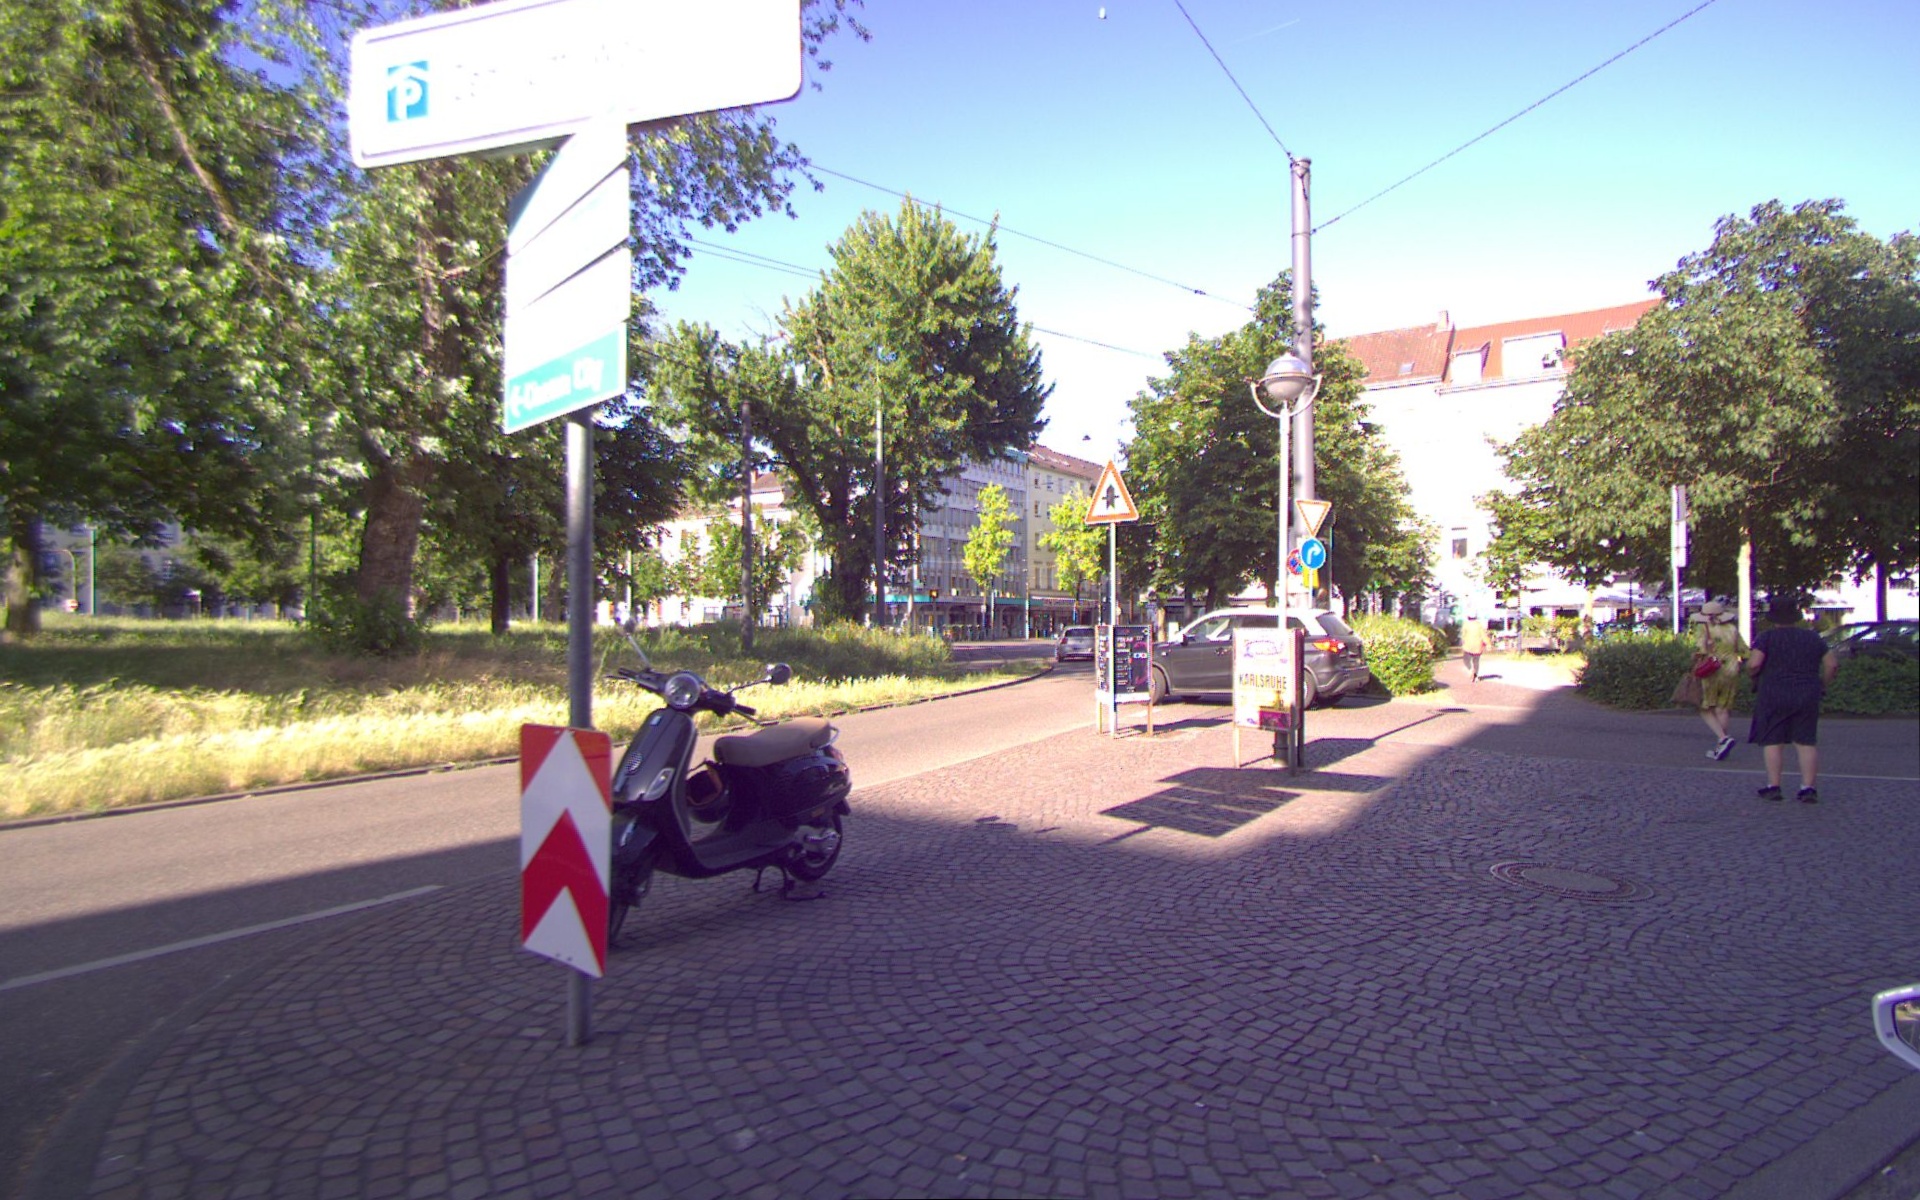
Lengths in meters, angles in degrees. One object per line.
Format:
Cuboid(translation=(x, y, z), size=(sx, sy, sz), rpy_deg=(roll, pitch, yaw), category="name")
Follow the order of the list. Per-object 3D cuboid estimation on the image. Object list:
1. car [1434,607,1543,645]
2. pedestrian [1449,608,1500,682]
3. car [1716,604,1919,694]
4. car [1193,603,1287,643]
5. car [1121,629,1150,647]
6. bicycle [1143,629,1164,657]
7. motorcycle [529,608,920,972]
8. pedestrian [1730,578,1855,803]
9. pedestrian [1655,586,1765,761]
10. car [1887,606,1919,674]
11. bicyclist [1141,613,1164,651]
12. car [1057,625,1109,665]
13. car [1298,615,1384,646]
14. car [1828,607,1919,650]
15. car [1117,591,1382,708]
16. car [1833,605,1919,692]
Cuboid(translation=(31.033, 1.506, 59.016), size=(5.498, 2.040, 1.813), rpy_deg=(1, 0, 33), category="car")
Cuboid(translation=(11.137, 0.951, 21.767), size=(0.755, 1.542, 0.959), rpy_deg=(1, 0, 14), category="pedestrian")
Cuboid(translation=(16.497, 0.877, 18.360), size=(3.924, 1.489, 1.873), rpy_deg=(1, 0, 25), category="car")
Cuboid(translation=(17.493, 1.420, 62.852), size=(5.267, 2.345, 1.993), rpy_deg=(1, 0, 37), category="car")
Cuboid(translation=(20.481, 4.414, 116.959), size=(1.965, 1.807, 3.990), rpy_deg=(1, 1, 32), category="car")
Cuboid(translation=(8.149, 1.804, 42.309), size=(0.796, 1.083, 2.585), rpy_deg=(1, 0, 11), category="bicycle")
Cuboid(translation=(-1.032, 0.756, 4.816), size=(0.736, 1.392, 1.755), rpy_deg=(1, 0, 35), category="motorcycle")
Cuboid(translation=(6.613, 0.685, 8.012), size=(0.627, 1.694, 0.691), rpy_deg=(1, 0, 30), category="pedestrian")
Cuboid(translation=(7.766, 0.735, 10.441), size=(0.656, 1.722, 0.805), rpy_deg=(1, 0, 18), category="pedestrian")
Cuboid(translation=(24.469, 0.991, 23.389), size=(1.732, 1.619, 3.962), rpy_deg=(2, 0, -34), category="car")
Cuboid(translation=(8.123, 1.342, 42.336), size=(0.913, 1.527, 0.826), rpy_deg=(1, 0, 11), category="bicyclist")
Cuboid(translation=(4.942, 1.788, 40.799), size=(1.960, 1.442, 4.199), rpy_deg=(2, 0, 6), category="car")
Cuboid(translation=(24.364, 1.926, 64.347), size=(4.795, 1.828, 1.902), rpy_deg=(1, 0, 38), category="car")
Cuboid(translation=(42.672, 1.309, 45.189), size=(5.190, 1.824, 2.158), rpy_deg=(1, 0, 33), category="car")
Cuboid(translation=(4.705, 0.776, 16.492), size=(3.808, 1.704, 1.806), rpy_deg=(-1, -2, 36), category="car")
Cuboid(translation=(19.987, 0.979, 19.927), size=(3.944, 1.690, 1.988), rpy_deg=(1, 0, 44), category="car")
